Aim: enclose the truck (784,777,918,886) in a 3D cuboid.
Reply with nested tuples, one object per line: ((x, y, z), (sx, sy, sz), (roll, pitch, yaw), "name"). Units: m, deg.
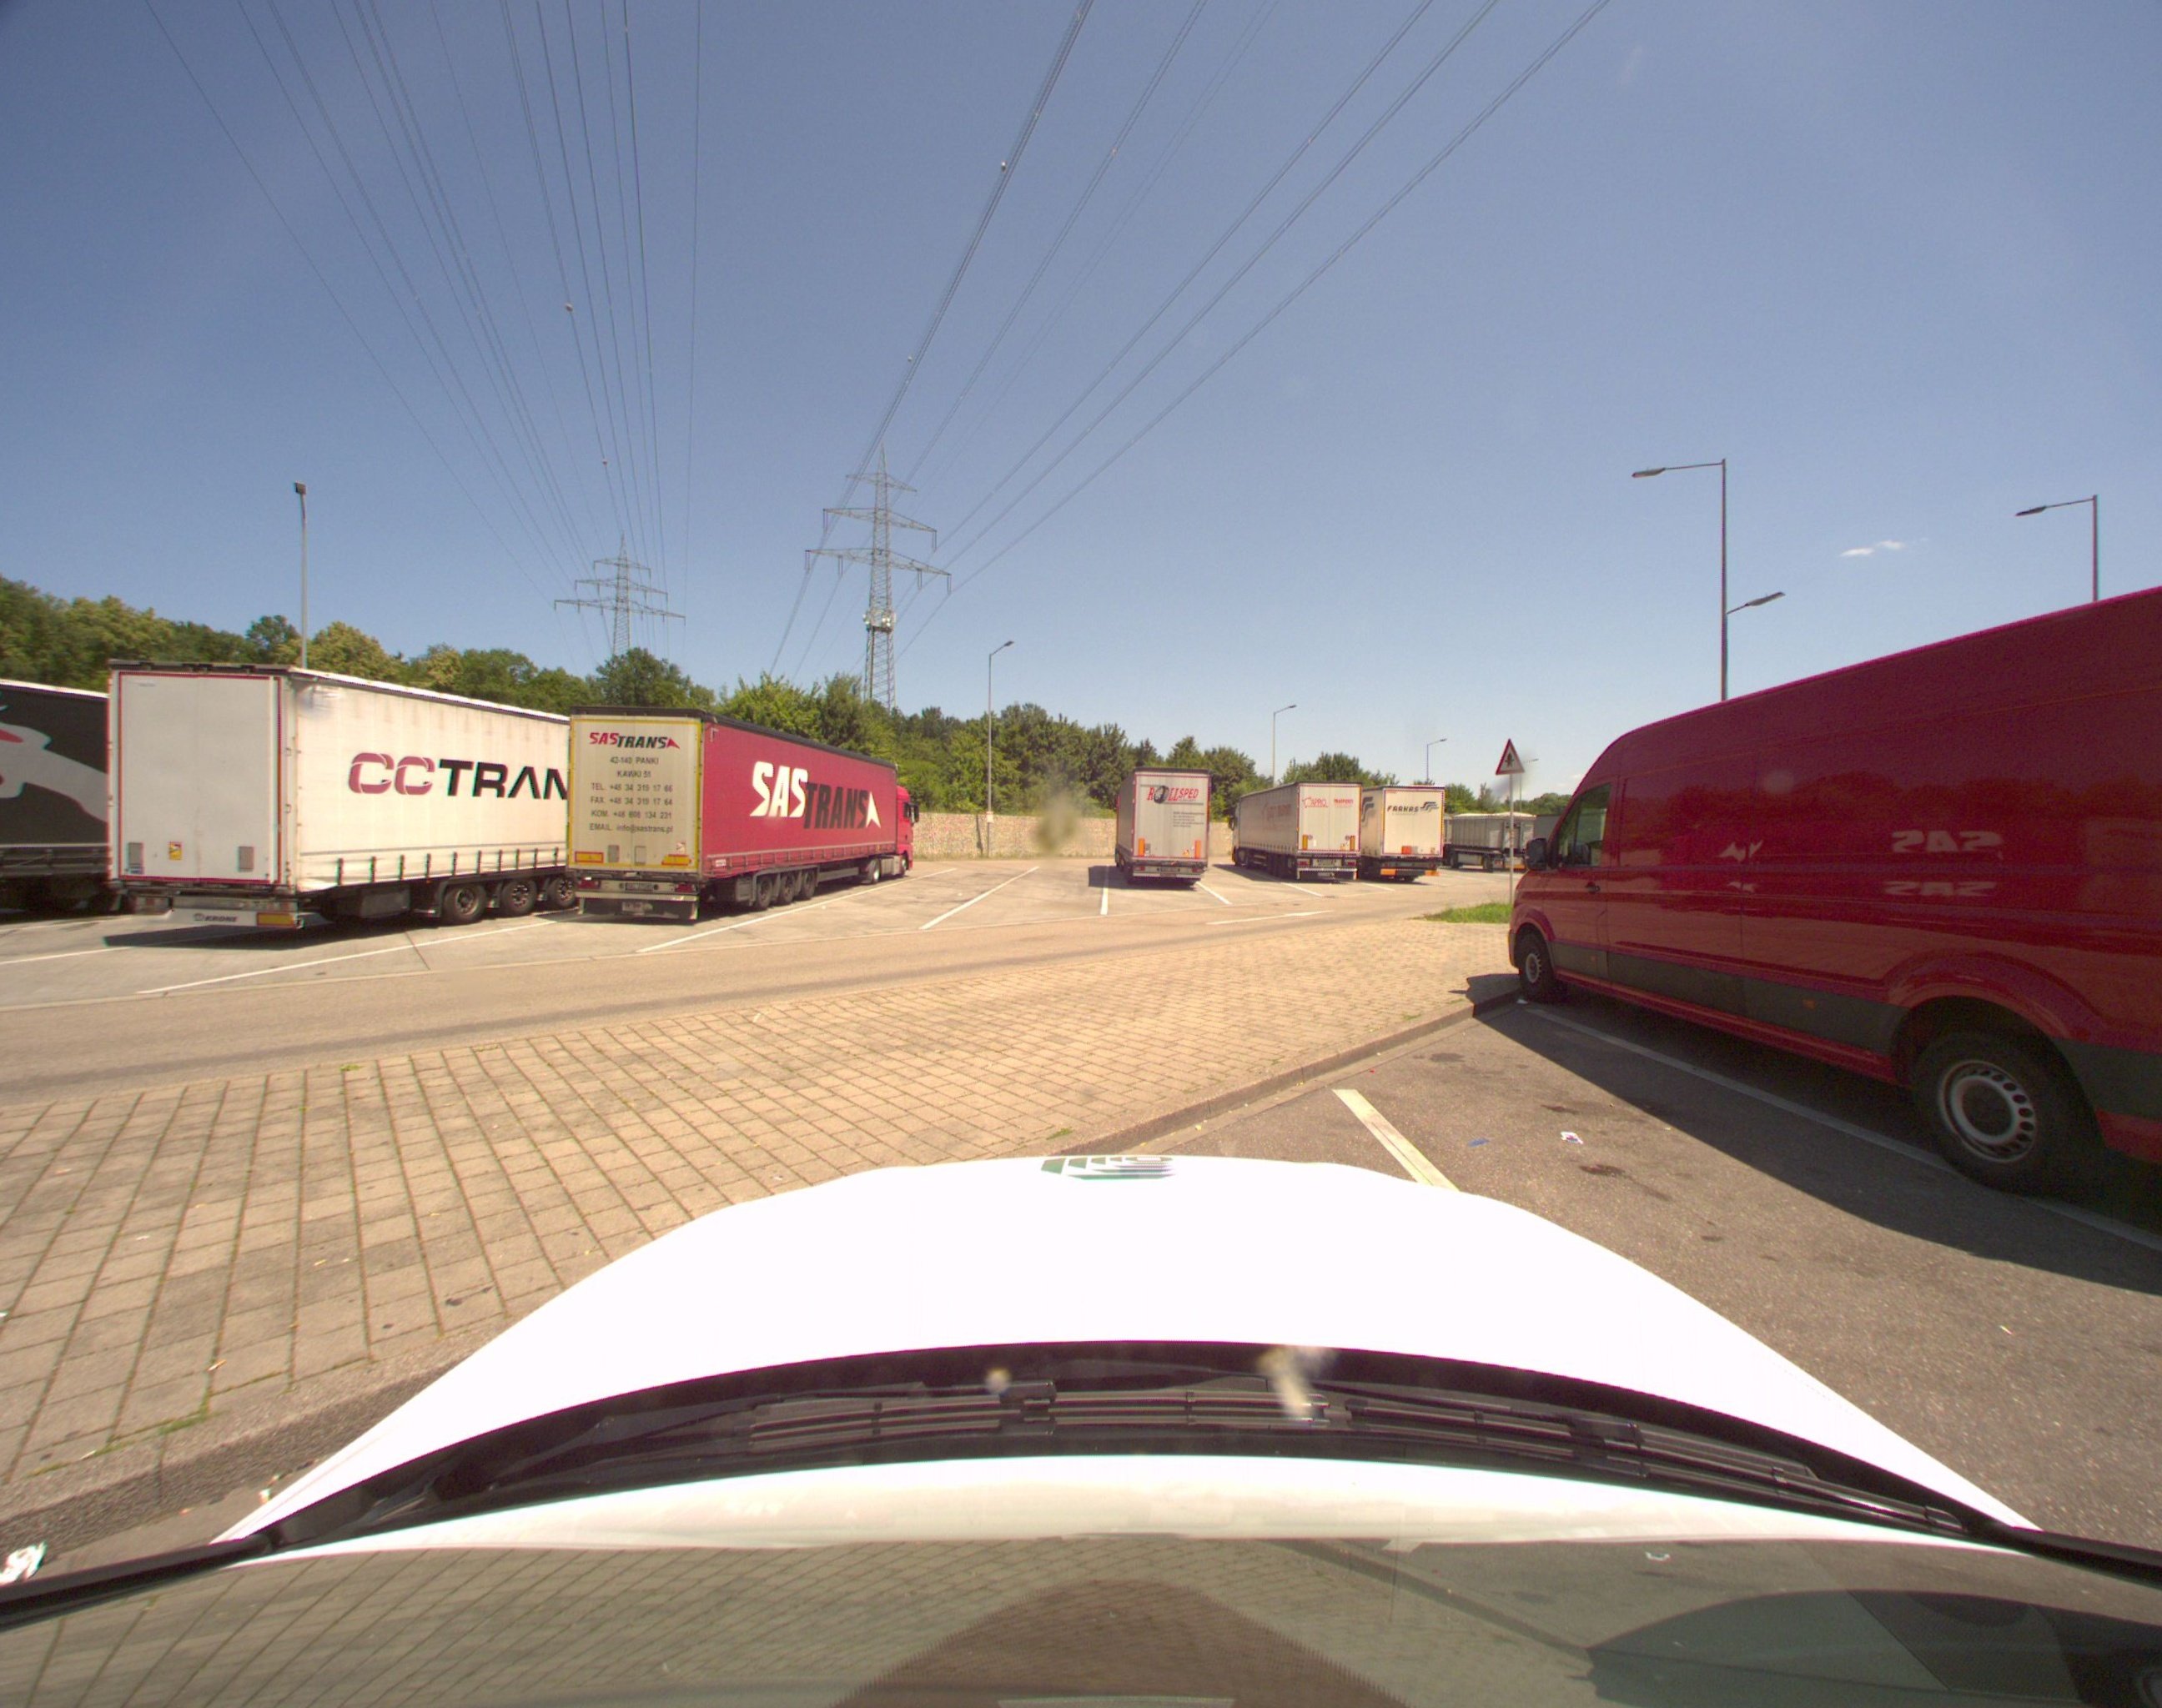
((-7.826, -0.795, 28.543), (2.801, 3.362, 5.977), (1, 2, 2), "truck")

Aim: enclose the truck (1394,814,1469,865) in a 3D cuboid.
((24.633, -1.081, 57.595), (2.855, 3.362, 5.977), (1, 2, 2), "truck")

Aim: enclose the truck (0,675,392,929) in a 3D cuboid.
((-18.543, -0.940, 15.830), (2.696, 4.070, 8.694), (1, 2, 2), "truck")

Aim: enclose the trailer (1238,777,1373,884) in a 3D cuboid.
((9.987, -1.120, 38.300), (2.847, 4.109, 13.770), (1, 2, 2), "trailer")

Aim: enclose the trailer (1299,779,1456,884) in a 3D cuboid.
((13.615, -1.094, 39.224), (2.847, 4.109, 13.770), (1, 2, 2), "trailer")

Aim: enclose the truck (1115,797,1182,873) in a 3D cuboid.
((3.146, -0.940, 39.411), (2.855, 3.362, 5.977), (1, 2, 2), "truck")

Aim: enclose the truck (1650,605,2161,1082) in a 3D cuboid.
((8.007, -0.070, 6.885), (2.406, 2.906, 6.466), (-1, 0, 6), "truck")

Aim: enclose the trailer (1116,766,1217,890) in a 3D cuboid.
((3.054, -1.049, 33.209), (2.848, 3.971, 13.767), (1, 2, 1), "trailer")

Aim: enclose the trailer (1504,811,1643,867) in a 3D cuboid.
((38.228, -1.295, 64.180), (2.847, 3.904, 13.770), (1, 2, 2), "trailer")

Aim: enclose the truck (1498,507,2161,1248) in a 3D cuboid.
((5.148, 0.081, 5.452), (2.001, 2.651, 6.466), (-1, 0, 6), "truck")

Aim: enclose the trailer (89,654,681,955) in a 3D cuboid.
((-12.155, -0.842, 16.423), (2.696, 4.101, 10.395), (1, 2, 2), "trailer")

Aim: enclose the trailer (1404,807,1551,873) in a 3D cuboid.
((24.447, -0.993, 51.498), (2.847, 3.599, 13.770), (1, 2, 2), "trailer")

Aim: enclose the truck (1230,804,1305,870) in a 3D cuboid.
((10.185, -0.978, 45.063), (2.855, 3.362, 5.977), (1, 2, 2), "truck")

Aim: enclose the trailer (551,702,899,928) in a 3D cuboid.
((-8.040, -0.928, 21.727), (2.811, 4.070, 13.770), (1, 2, 2), "trailer")
